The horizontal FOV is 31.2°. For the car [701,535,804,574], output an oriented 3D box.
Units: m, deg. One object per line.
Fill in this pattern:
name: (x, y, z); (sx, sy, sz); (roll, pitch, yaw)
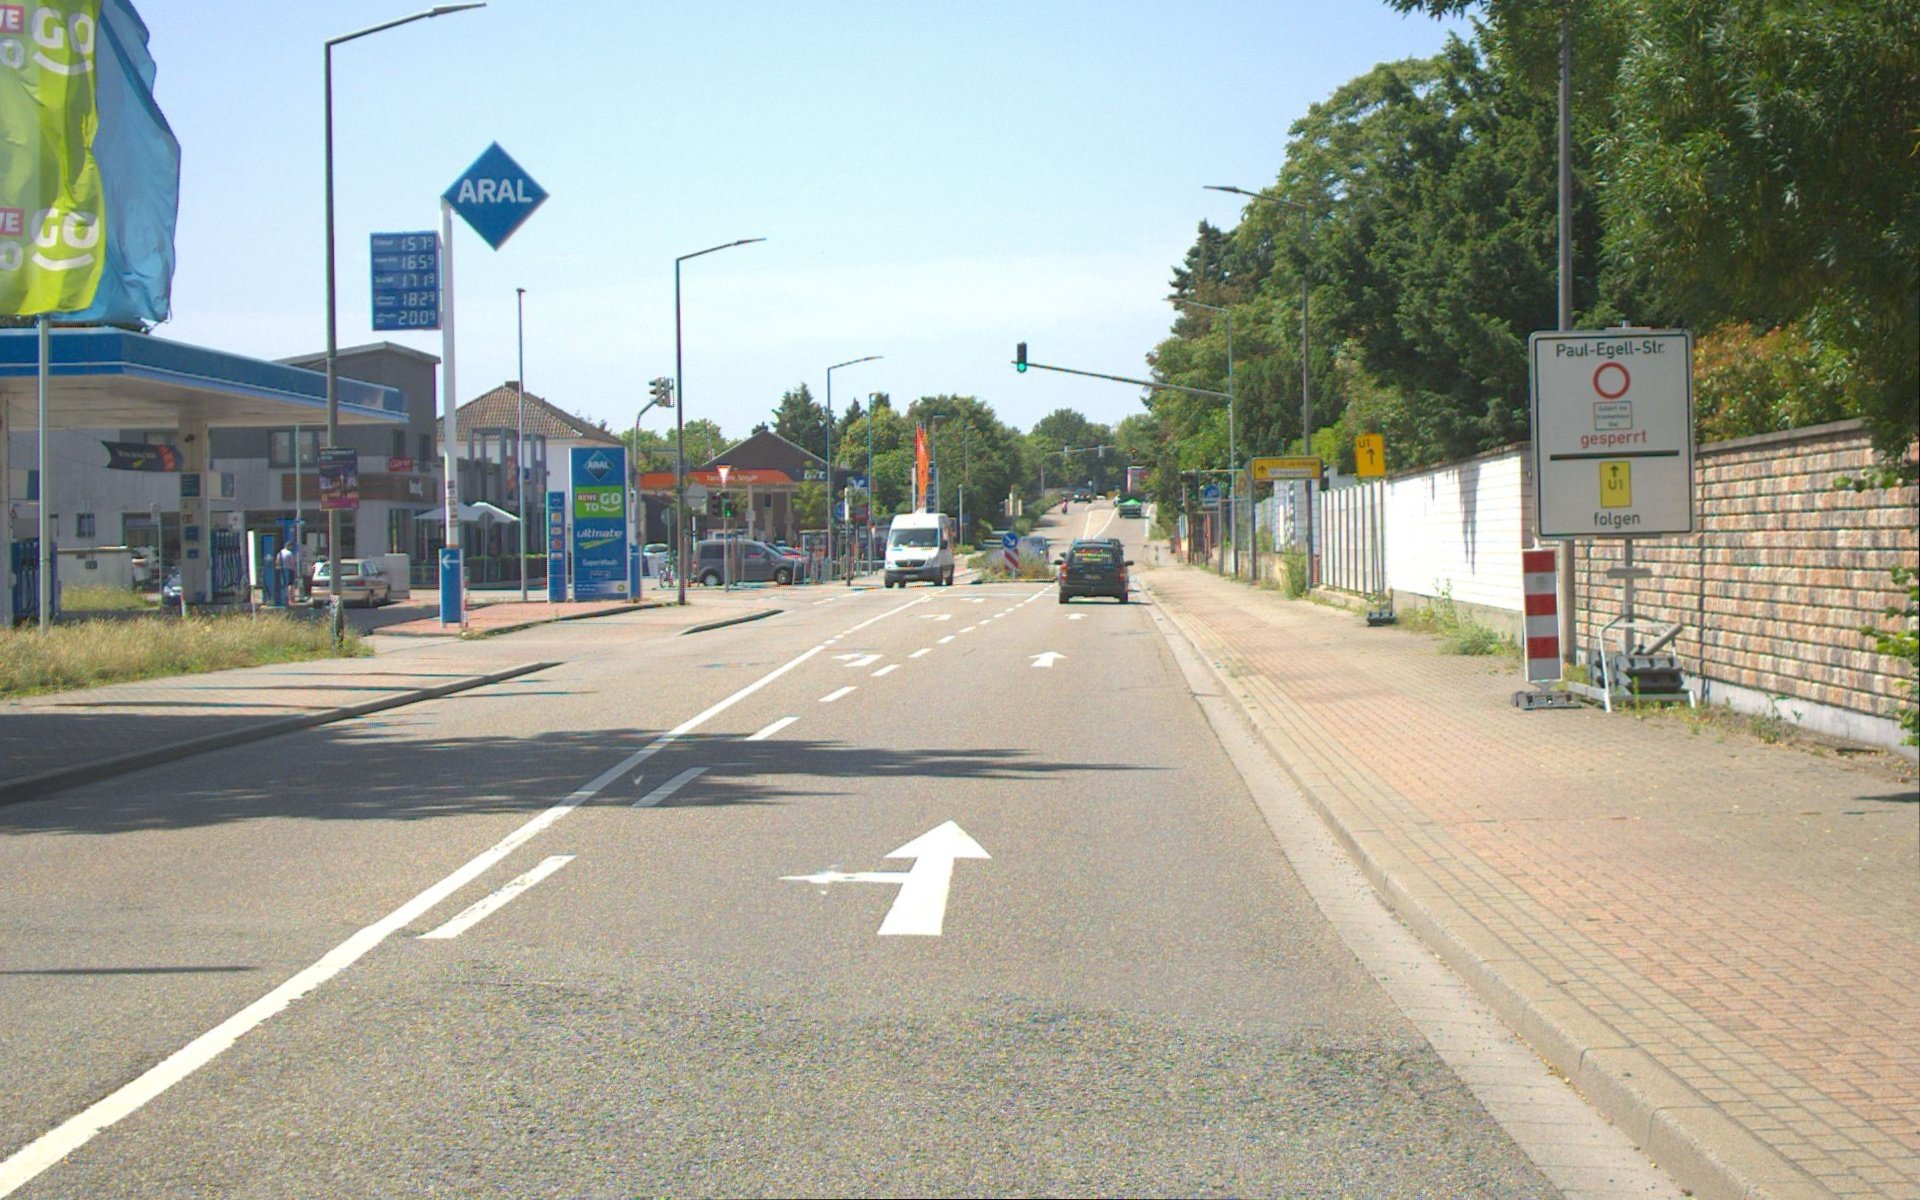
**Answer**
car: (-8.150, -1.802, 135.457); (3.987, 1.503, 1.555); (0, 1, -1)

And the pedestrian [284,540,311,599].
pedestrian: (-18.995, -0.872, 98.537); (0.610, 1.685, 0.709); (0, 1, -23)

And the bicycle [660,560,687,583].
bicycle: (-9.947, -0.997, 119.548); (0.612, 0.790, 2.574); (0, 1, 2)

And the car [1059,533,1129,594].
car: (3.263, -0.893, 83.468); (1.665, 1.450, 3.472); (0, 1, 2)

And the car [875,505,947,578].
car: (-1.720, -2.045, 122.400); (1.994, 2.414, 5.946); (2, 0, 4)

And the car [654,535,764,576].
car: (-9.328, -1.652, 128.072); (3.987, 1.503, 1.555); (0, 1, -1)

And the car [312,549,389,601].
car: (-17.338, -0.721, 97.868); (1.617, 1.415, 3.712); (-1, 1, -2)

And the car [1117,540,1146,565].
car: (9.886, -2.732, 198.362); (1.665, 1.450, 3.472); (0, 1, 2)
